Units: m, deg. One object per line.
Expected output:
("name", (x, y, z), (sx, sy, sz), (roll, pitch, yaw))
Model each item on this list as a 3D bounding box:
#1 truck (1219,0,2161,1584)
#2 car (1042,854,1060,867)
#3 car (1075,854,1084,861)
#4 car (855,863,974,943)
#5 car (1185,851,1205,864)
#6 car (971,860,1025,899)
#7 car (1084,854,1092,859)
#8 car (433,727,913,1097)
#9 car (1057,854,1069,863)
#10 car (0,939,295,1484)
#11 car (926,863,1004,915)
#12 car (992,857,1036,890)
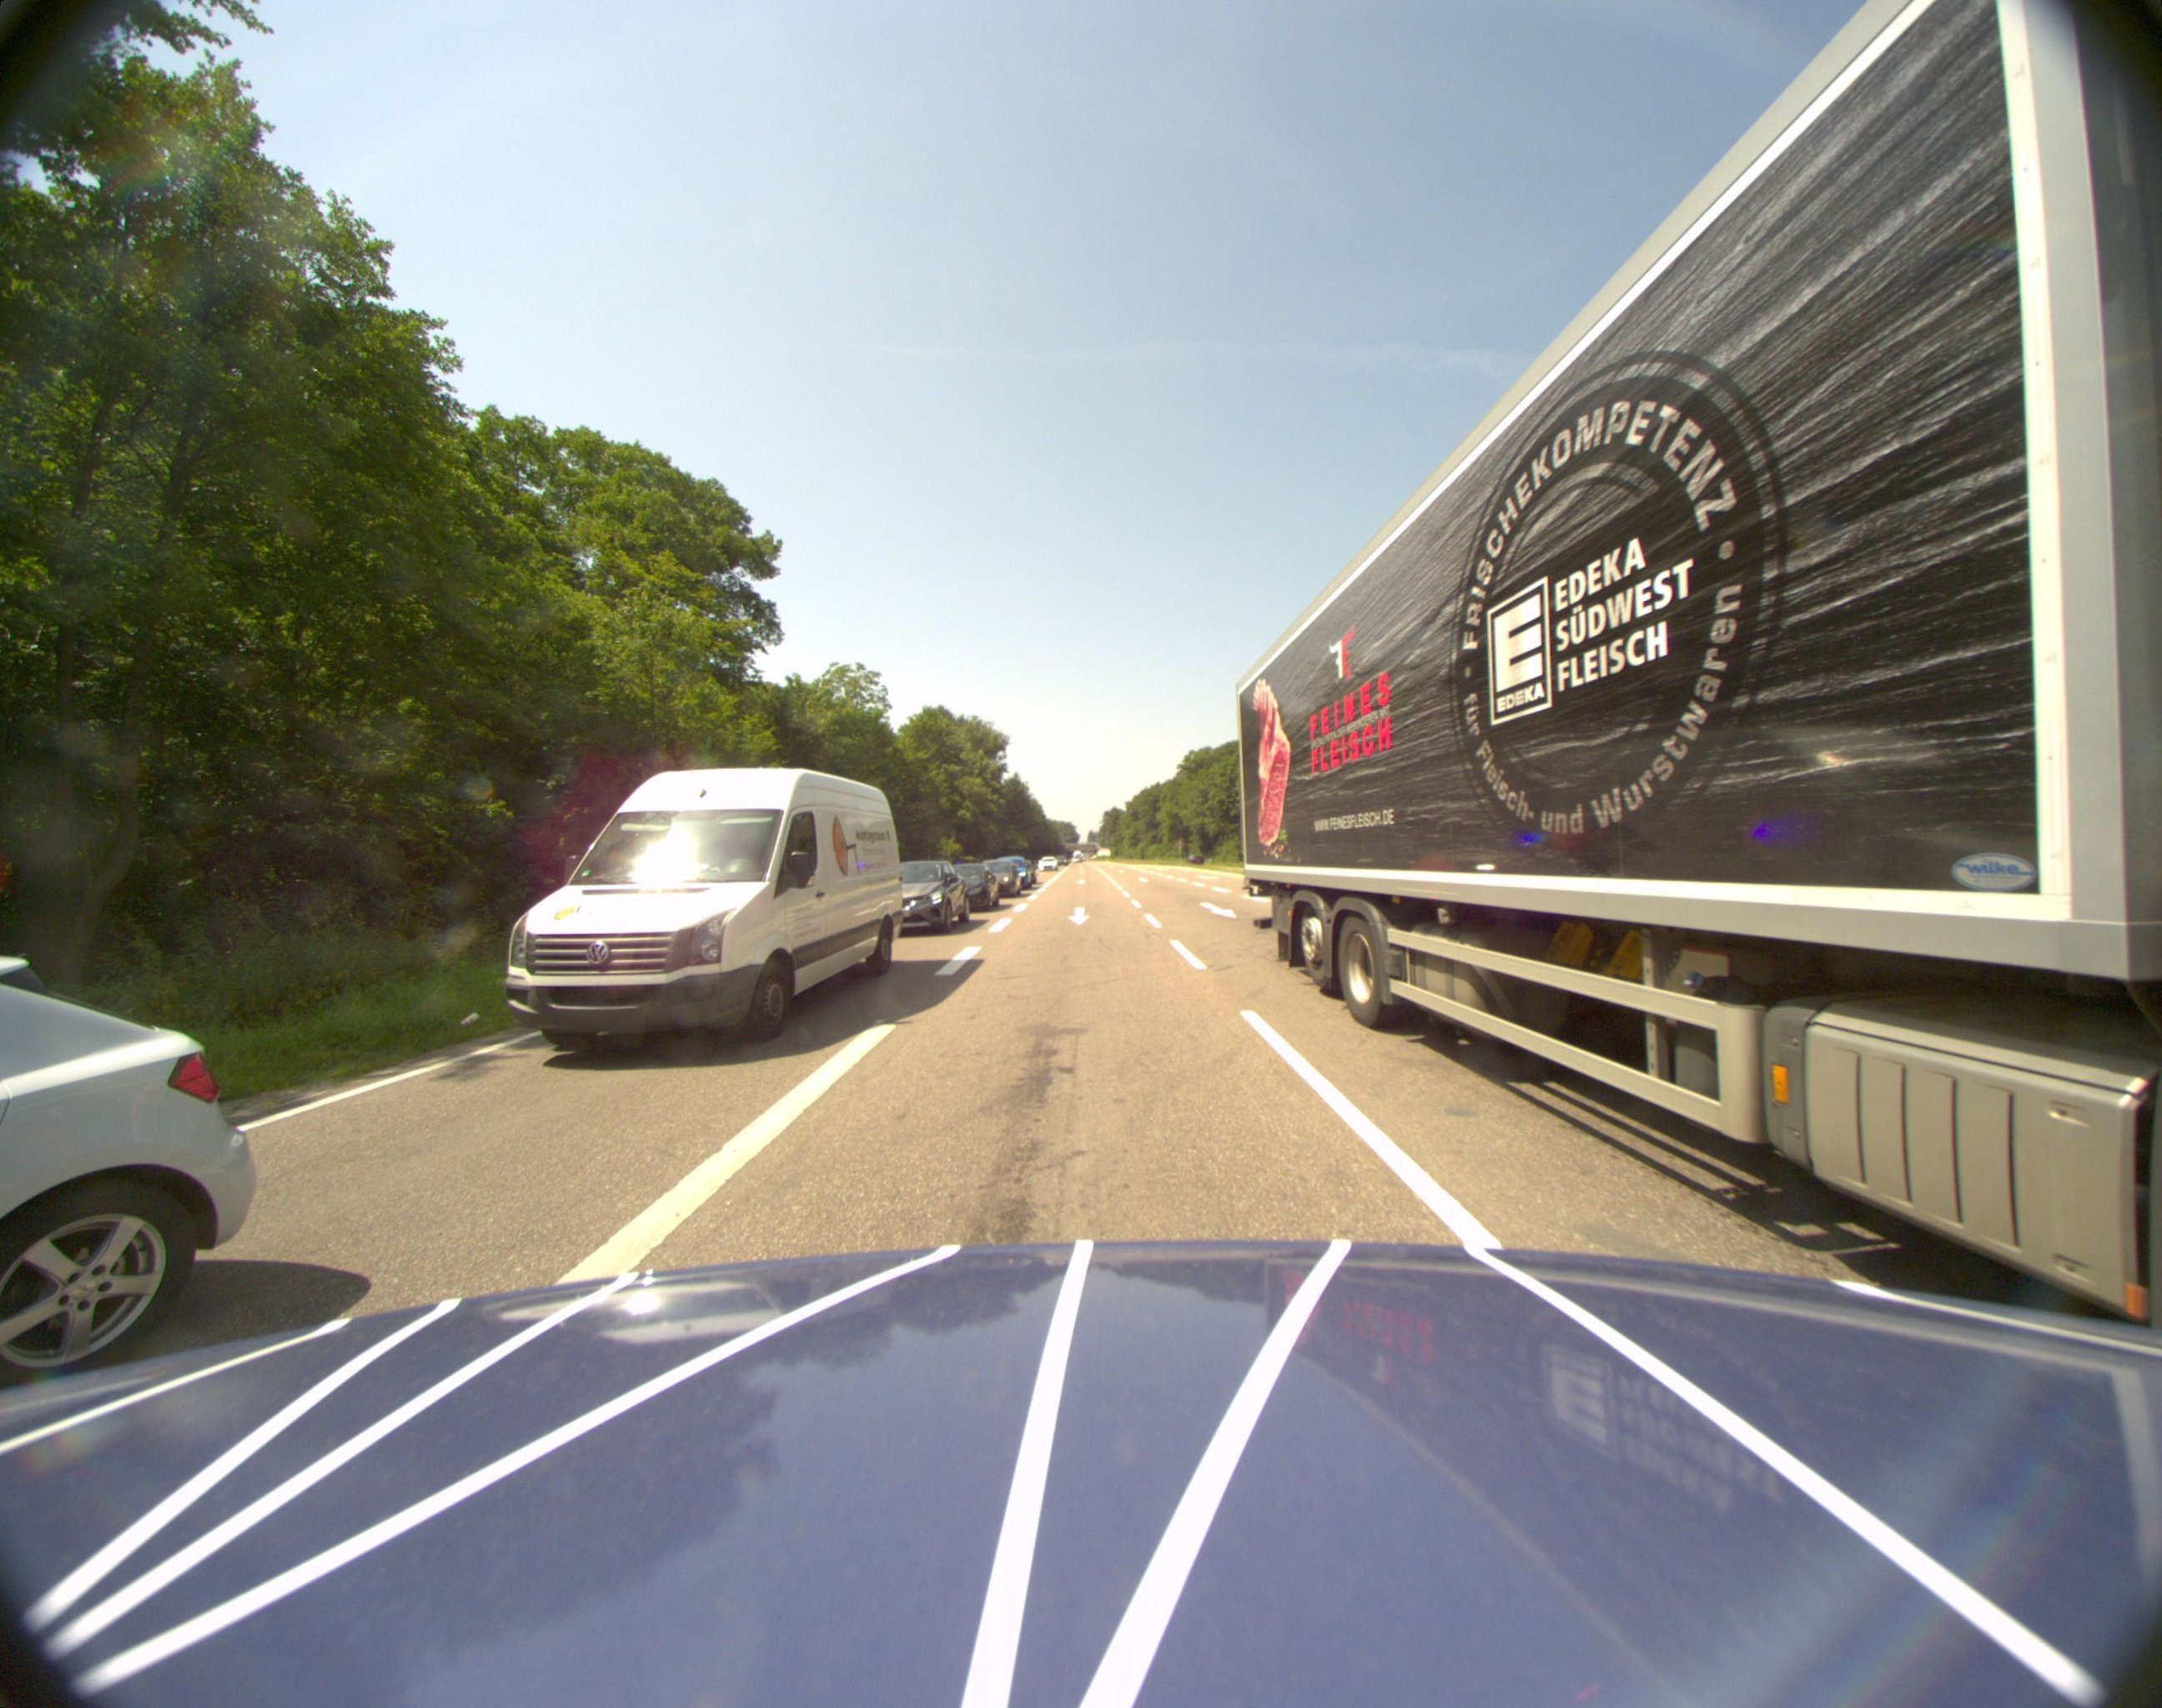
("truck", (3.501, -0.462, 5.068), (2.753, 3.862, 11.318), (-2, 0, -1))
("car", (-3.222, 0.678, 81.414), (1.796, 1.431, 4.228), (0, 0, -1))
("car", (-0.265, 0.719, 155.796), (1.796, 1.431, 4.228), (-1, 0, -1))
("car", (-3.613, 1.000, 17.239), (1.796, 1.452, 4.228), (-2, 0, -1))
("car", (15.182, 0.426, 101.624), (1.999, 1.543, 3.999), (-2, 1, 0))
("car", (-3.296, 0.982, 30.948), (1.796, 1.431, 4.228), (-1, 0, -1))
("car", (1.971, 0.734, 216.733), (1.999, 1.543, 4.000), (0, 0, 0))
("car", (-3.643, 0.432, 8.573), (1.974, 2.629, 6.060), (-2, 0, 1))
("car", (-2.738, 0.664, 115.122), (1.796, 1.431, 4.228), (-1, 0, -1))
("car", (-3.947, 1.085, 0.898), (1.693, 1.427, 4.001), (-3, 0, 3))
("car", (-3.478, 1.008, 23.505), (1.796, 1.348, 4.228), (-1, 0, -1))
("car", (-3.214, 0.905, 37.062), (1.796, 1.431, 4.228), (-1, 0, -1))
